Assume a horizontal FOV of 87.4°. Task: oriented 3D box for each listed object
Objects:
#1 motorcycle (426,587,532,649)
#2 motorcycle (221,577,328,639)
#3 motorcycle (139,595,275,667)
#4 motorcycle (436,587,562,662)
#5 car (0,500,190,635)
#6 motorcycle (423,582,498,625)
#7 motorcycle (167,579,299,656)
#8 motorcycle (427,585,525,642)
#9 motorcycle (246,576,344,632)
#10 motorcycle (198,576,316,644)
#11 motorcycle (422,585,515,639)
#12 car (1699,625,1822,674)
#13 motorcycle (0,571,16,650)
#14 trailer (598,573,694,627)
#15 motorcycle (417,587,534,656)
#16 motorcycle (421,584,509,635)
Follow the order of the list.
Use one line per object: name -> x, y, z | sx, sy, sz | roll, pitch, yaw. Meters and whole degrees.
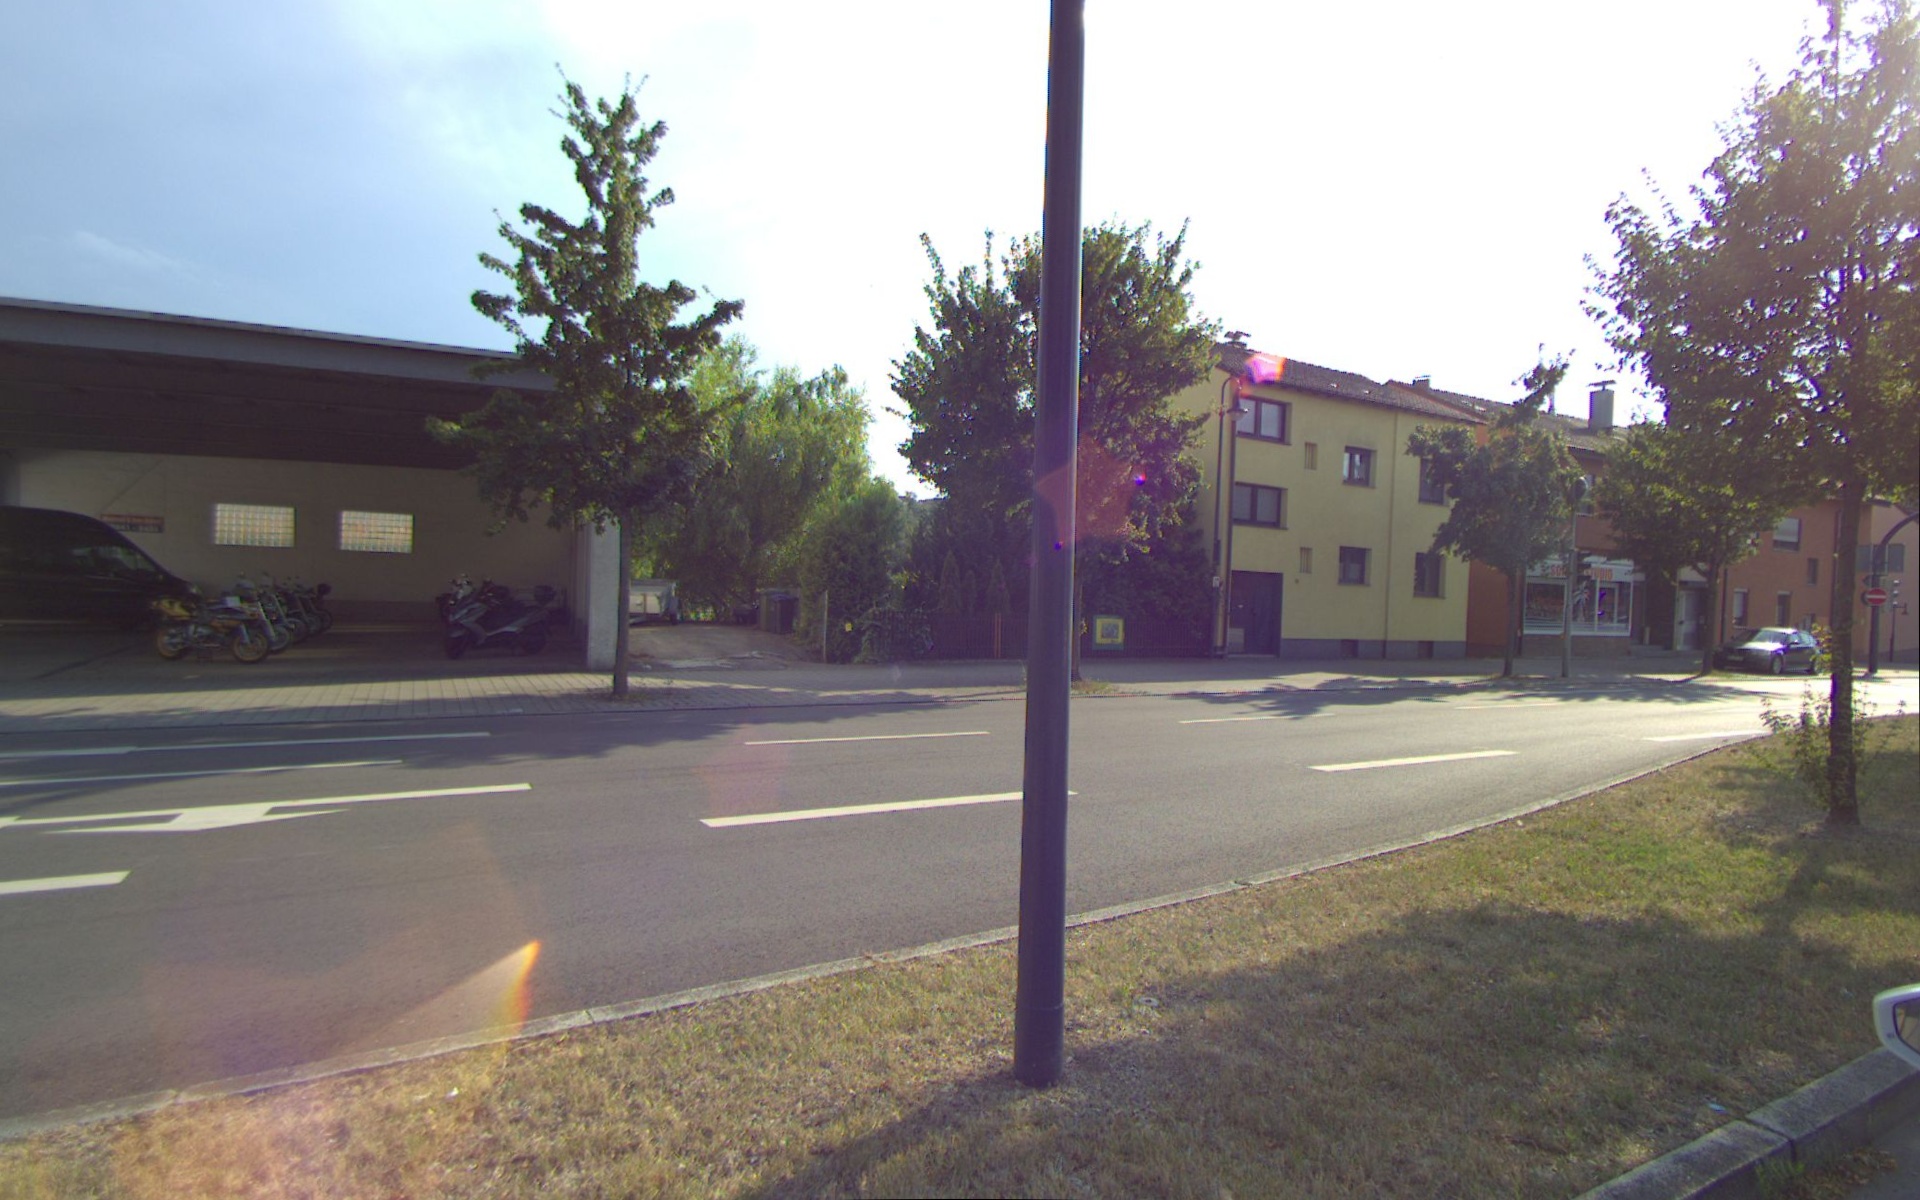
motorcycle -> -10.752, 0.379, 22.529 | 0.621, 1.314, 2.113 | 1, 2, 36
motorcycle -> -15.895, 0.176, 23.307 | 2.219, 1.354, 0.631 | 1, 0, 10
motorcycle -> -12.507, 0.499, 16.690 | 1.993, 1.101, 0.631 | 1, 0, 12
motorcycle -> -8.629, 0.426, 18.890 | 0.621, 1.314, 2.113 | 1, 2, 36
car -> -20.462, -0.688, 22.084 | 1.962, 2.789, 5.280 | 1, 0, 26
motorcycle -> -15.969, 0.094, 32.170 | 0.621, 1.314, 2.113 | 1, 2, 36
motorcycle -> -13.642, 0.314, 18.855 | 2.219, 1.354, 0.631 | 1, 0, 10
motorcycle -> -11.777, 0.307, 24.530 | 0.621, 1.314, 2.113 | 1, 2, 36
motorcycle -> -16.919, 0.096, 25.566 | 2.219, 1.354, 0.631 | 1, 0, 10
motorcycle -> -14.763, 0.199, 21.097 | 2.219, 1.354, 0.631 | 1, 0, 10
motorcycle -> -12.659, 0.286, 25.913 | 0.621, 1.314, 2.113 | 1, 2, 36
car -> 25.959, 1.594, 32.546 | 3.953, 1.319, 1.728 | 1, 4, -30
motorcycle -> -17.297, 0.164, 16.717 | 0.619, 1.380, 2.225 | 1, 0, 24
trailer -> -8.227, -0.012, 26.610 | 1.698, 1.280, 3.995 | 1, 0, -7
motorcycle -> -9.822, 0.397, 20.452 | 0.621, 1.314, 2.113 | 1, 2, 36
motorcycle -> -13.523, 0.234, 27.511 | 0.621, 1.314, 2.113 | 1, 2, 36
